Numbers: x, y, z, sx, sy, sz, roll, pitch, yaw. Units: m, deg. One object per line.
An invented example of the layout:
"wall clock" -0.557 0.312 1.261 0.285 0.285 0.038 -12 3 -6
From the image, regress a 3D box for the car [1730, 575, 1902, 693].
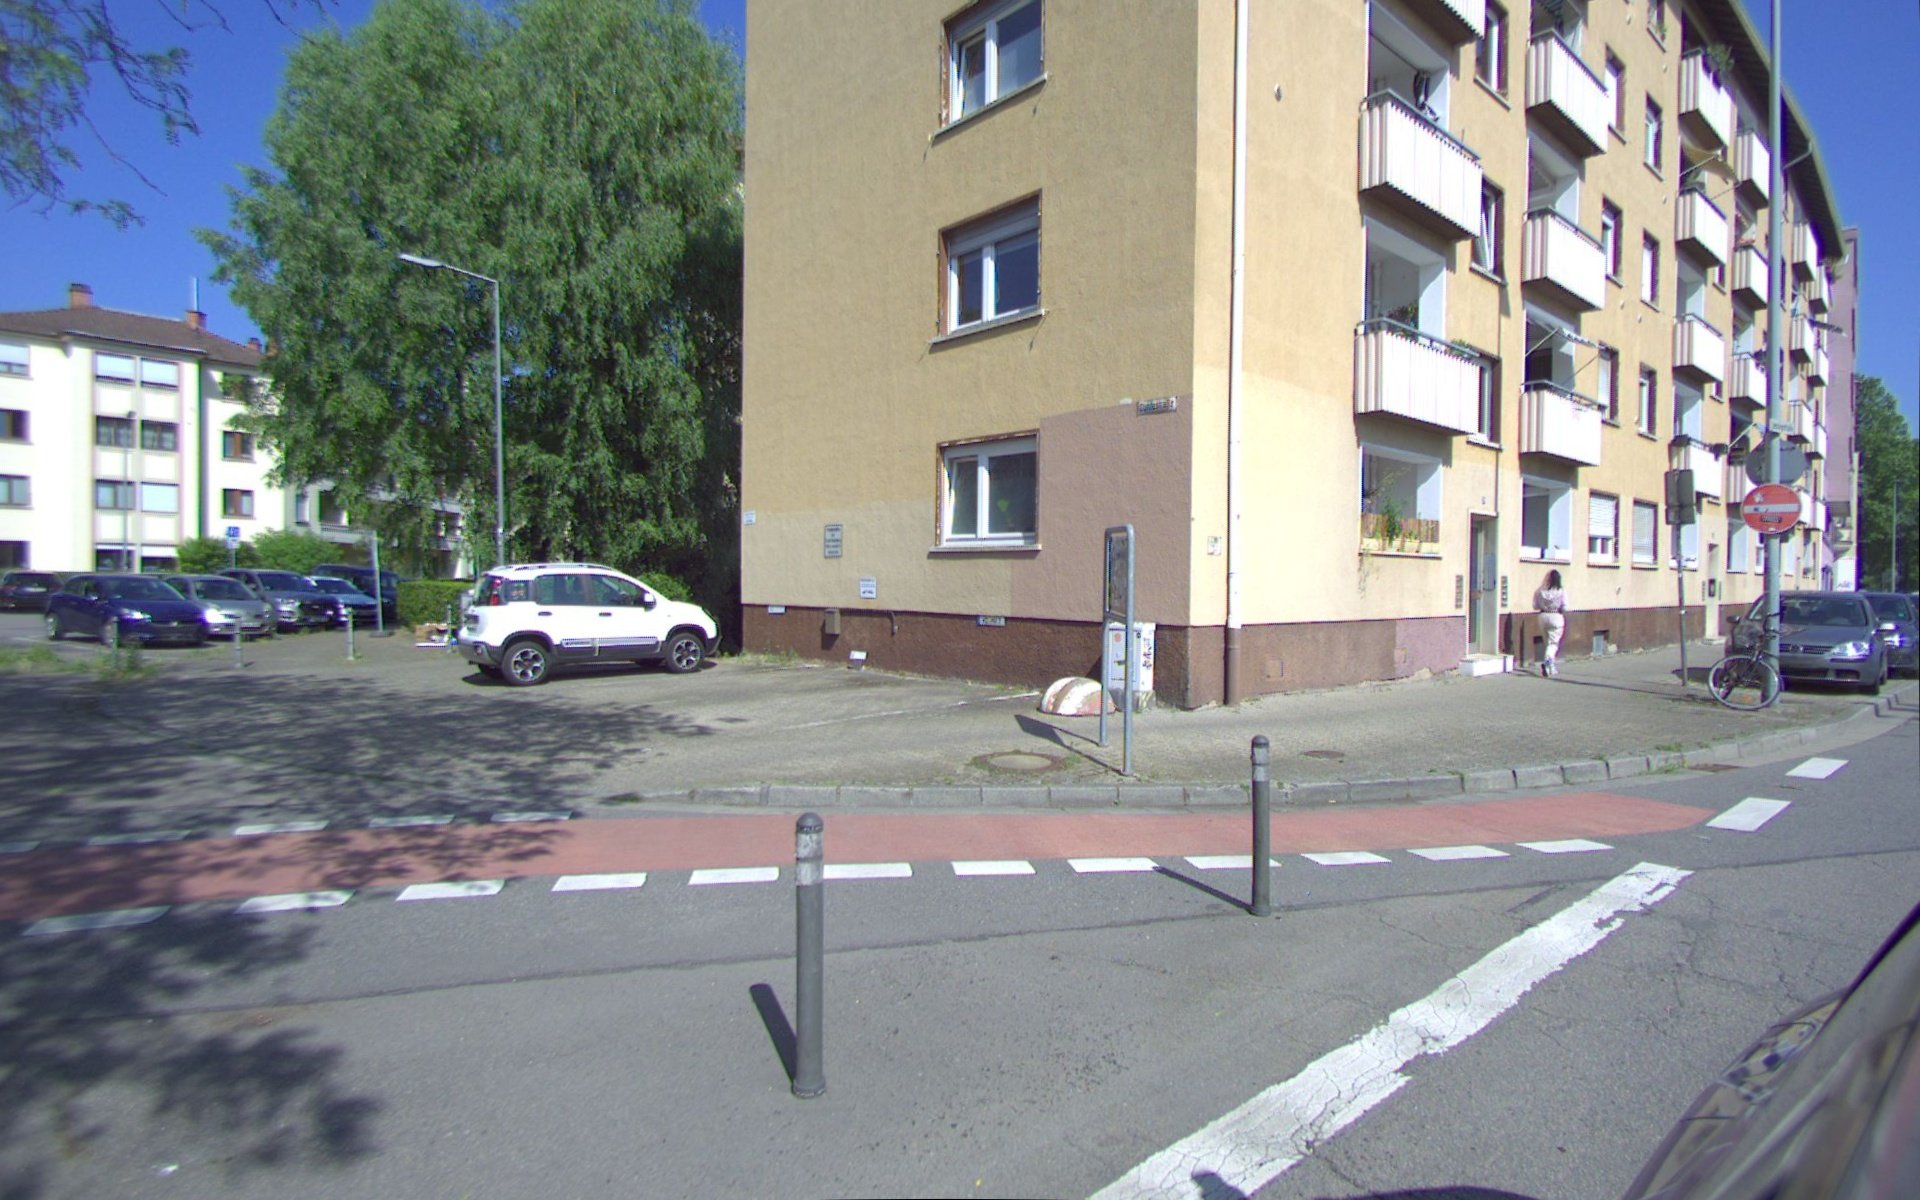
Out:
"car" 12.952 0.409 15.226 1.704 1.533 4.027 1 2 44

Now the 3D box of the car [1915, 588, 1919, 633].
"car" 33.864 0.366 34.524 1.757 1.524 4.061 2 2 45

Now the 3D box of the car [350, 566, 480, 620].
"car" -18.000 -0.271 33.403 3.962 1.660 1.891 1 1 27

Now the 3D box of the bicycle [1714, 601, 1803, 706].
"bicycle" 9.675 0.600 12.239 0.702 1.138 1.718 2 1 43

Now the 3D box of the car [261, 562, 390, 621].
"car" -19.866 -0.291 31.665 3.967 1.749 1.849 1 1 31

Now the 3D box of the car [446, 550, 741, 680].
"car" -5.274 0.120 14.755 3.716 1.660 1.660 -2 2 -38

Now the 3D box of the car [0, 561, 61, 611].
"car" -31.897 -0.496 34.290 3.825 1.616 1.691 1 1 41

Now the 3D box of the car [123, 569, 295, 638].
"car" -18.349 0.030 24.714 3.963 1.552 1.916 1 1 28

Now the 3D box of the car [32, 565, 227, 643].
"car" -17.970 0.030 21.884 3.963 1.532 1.916 1 1 28

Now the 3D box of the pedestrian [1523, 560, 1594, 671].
"pedestrian" 9.204 0.218 15.563 0.809 1.629 0.657 0 3 -41

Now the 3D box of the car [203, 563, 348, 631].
"car" -18.999 -0.124 28.071 3.967 1.749 1.849 1 1 31

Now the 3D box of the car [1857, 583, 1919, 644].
"car" 24.448 0.311 26.033 1.801 1.456 4.516 2 2 44

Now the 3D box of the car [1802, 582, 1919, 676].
"car" 16.535 0.448 18.205 4.186 1.480 1.712 0 2 -44
